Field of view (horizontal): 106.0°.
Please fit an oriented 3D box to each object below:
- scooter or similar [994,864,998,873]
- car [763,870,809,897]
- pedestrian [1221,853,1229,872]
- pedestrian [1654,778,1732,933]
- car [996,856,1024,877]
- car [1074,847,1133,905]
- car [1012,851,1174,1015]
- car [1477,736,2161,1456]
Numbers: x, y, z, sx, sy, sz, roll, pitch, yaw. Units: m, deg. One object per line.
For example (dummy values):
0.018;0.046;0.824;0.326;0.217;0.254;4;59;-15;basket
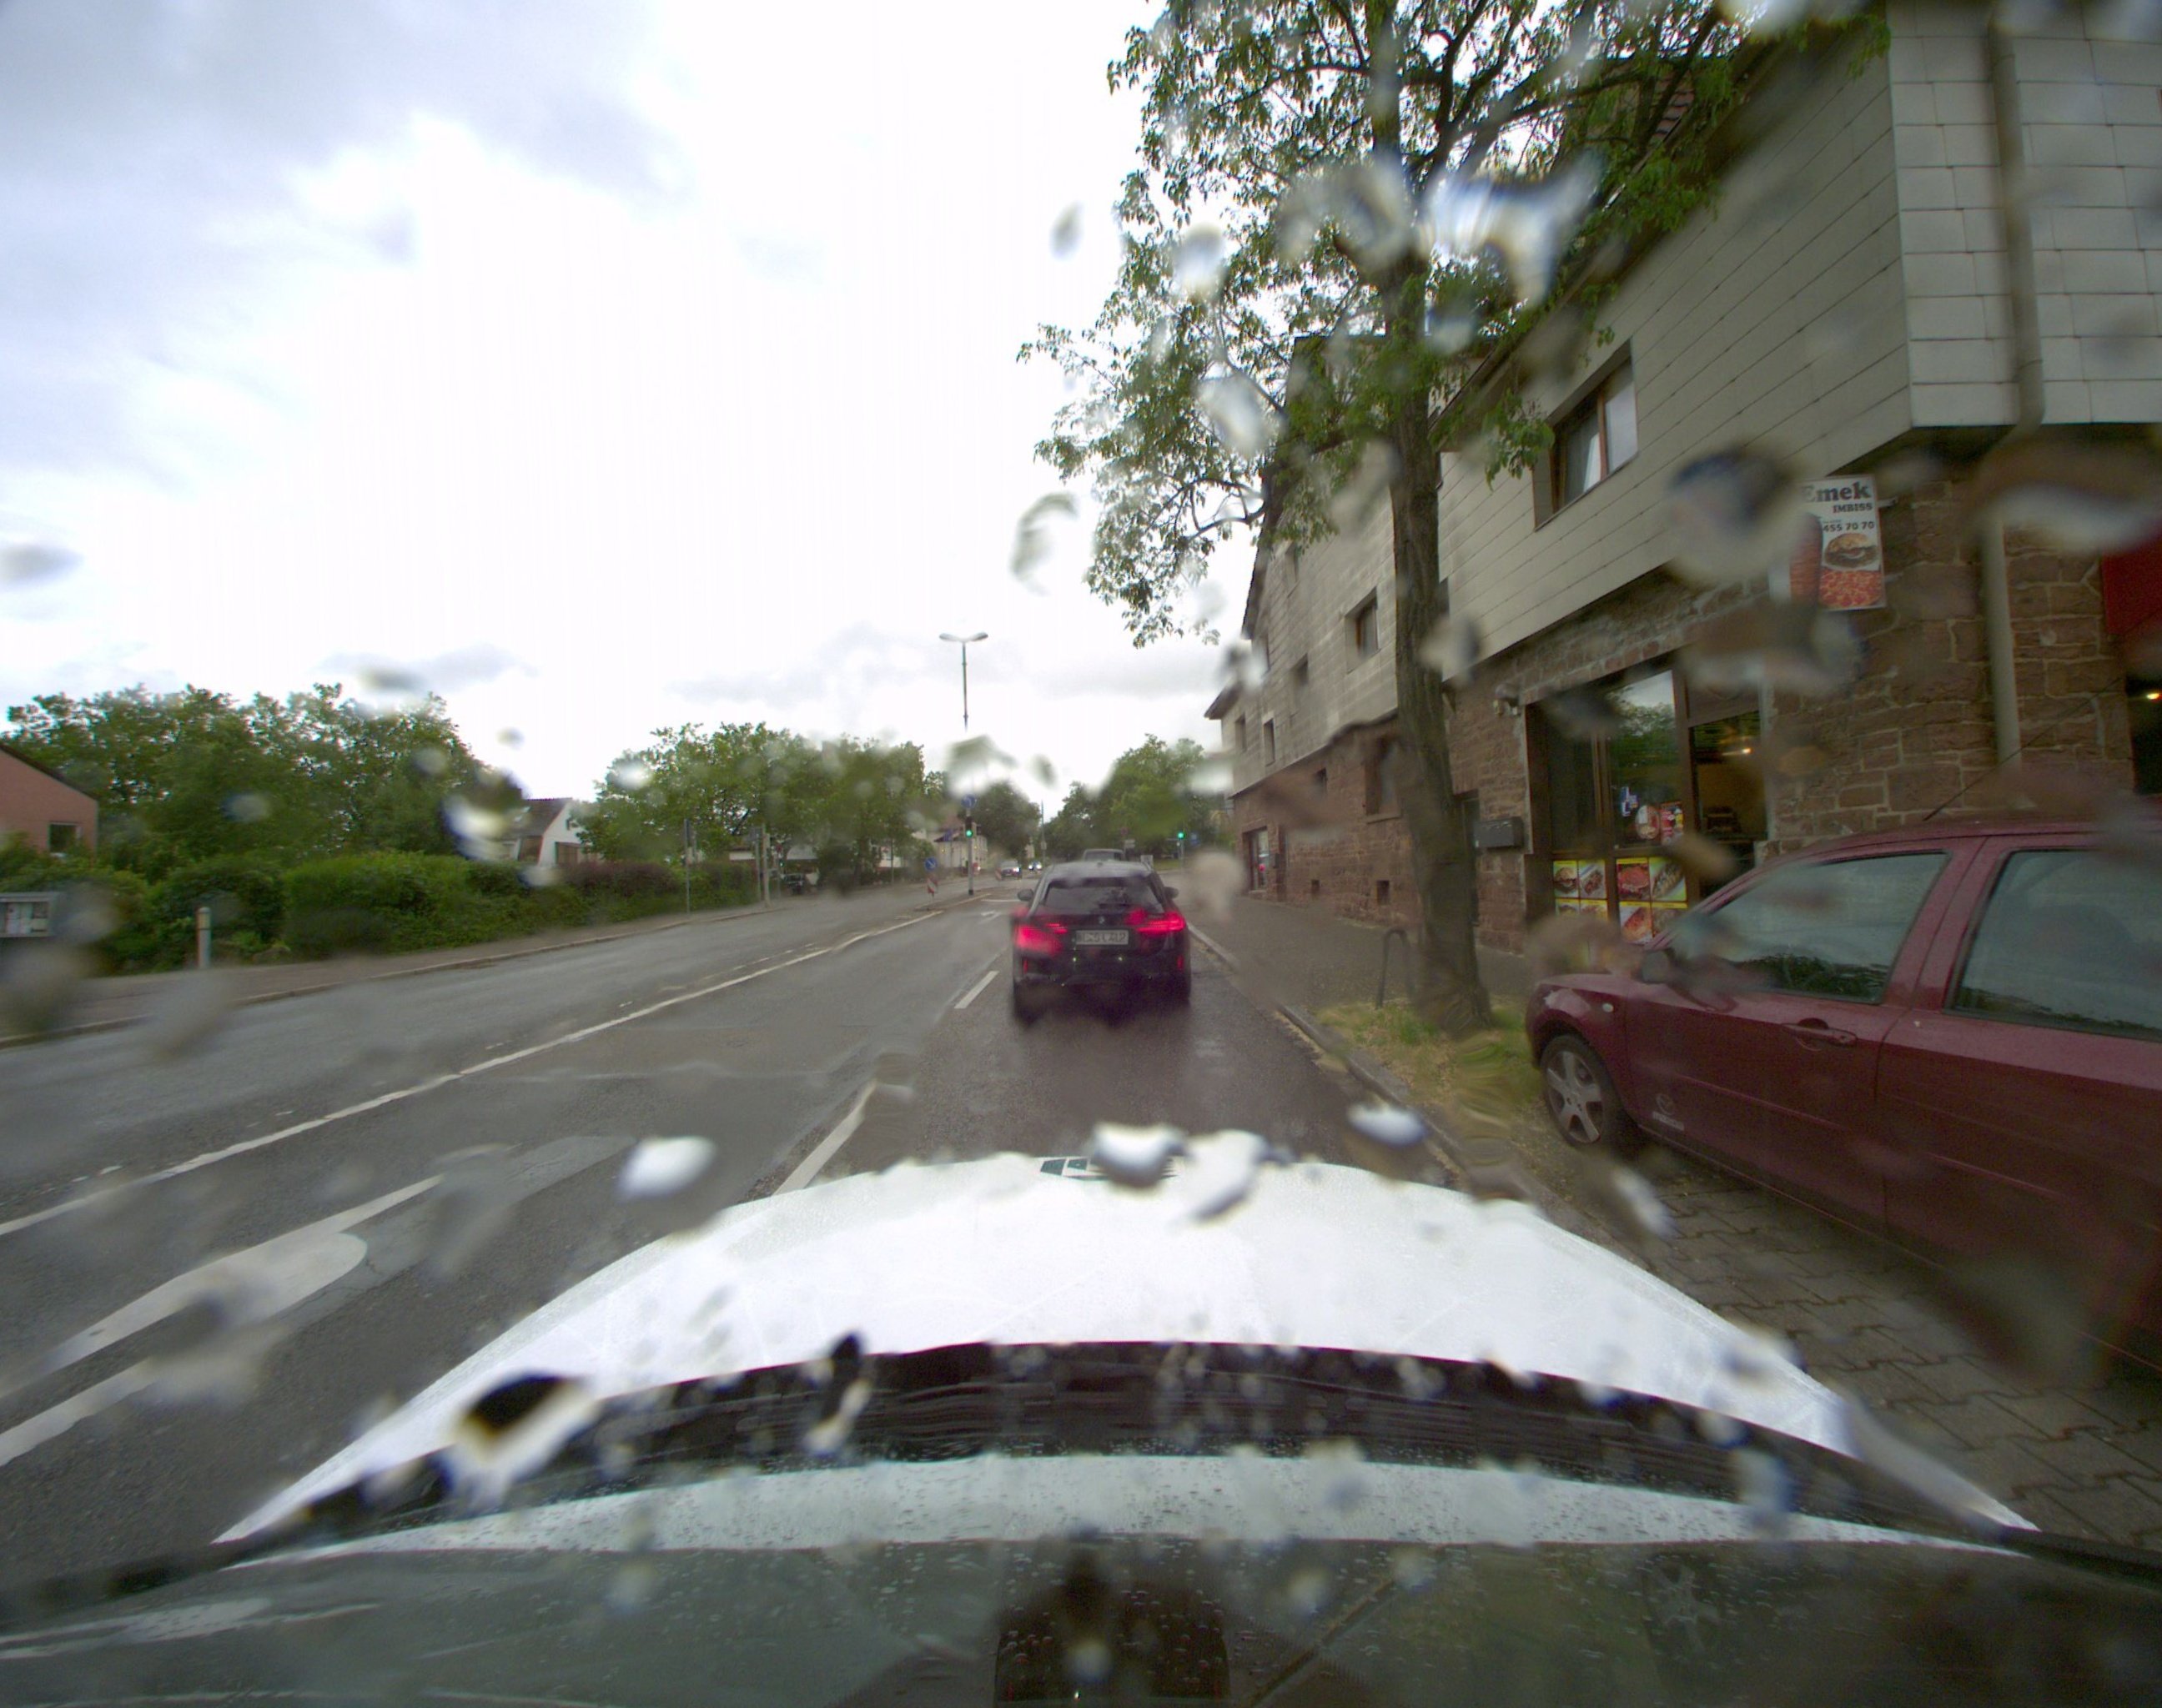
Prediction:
-11.030;1.877;105.374;0.388;1.064;1.409;0;-1;-2;scooter or similar
-20.947;2.081;57.966;1.803;1.551;4.001;-1;3;0;car
12.173;0.752;68.954;0.597;1.617;0.527;-1;-1;8;pedestrian
6.755;0.016;9.001;0.490;1.660;0.455;-1;-1;1;pedestrian
-5.757;0.985;66.281;1.893;1.577;4.500;-2;0;-1;car
0.707;0.715;27.595;1.807;1.809;3.754;-1;-1;-1;car
0.084;0.771;9.505;1.519;1.534;3.530;-1;-1;-1;car
3.041;0.537;2.647;1.606;1.504;3.754;-1;-2;-1;car
